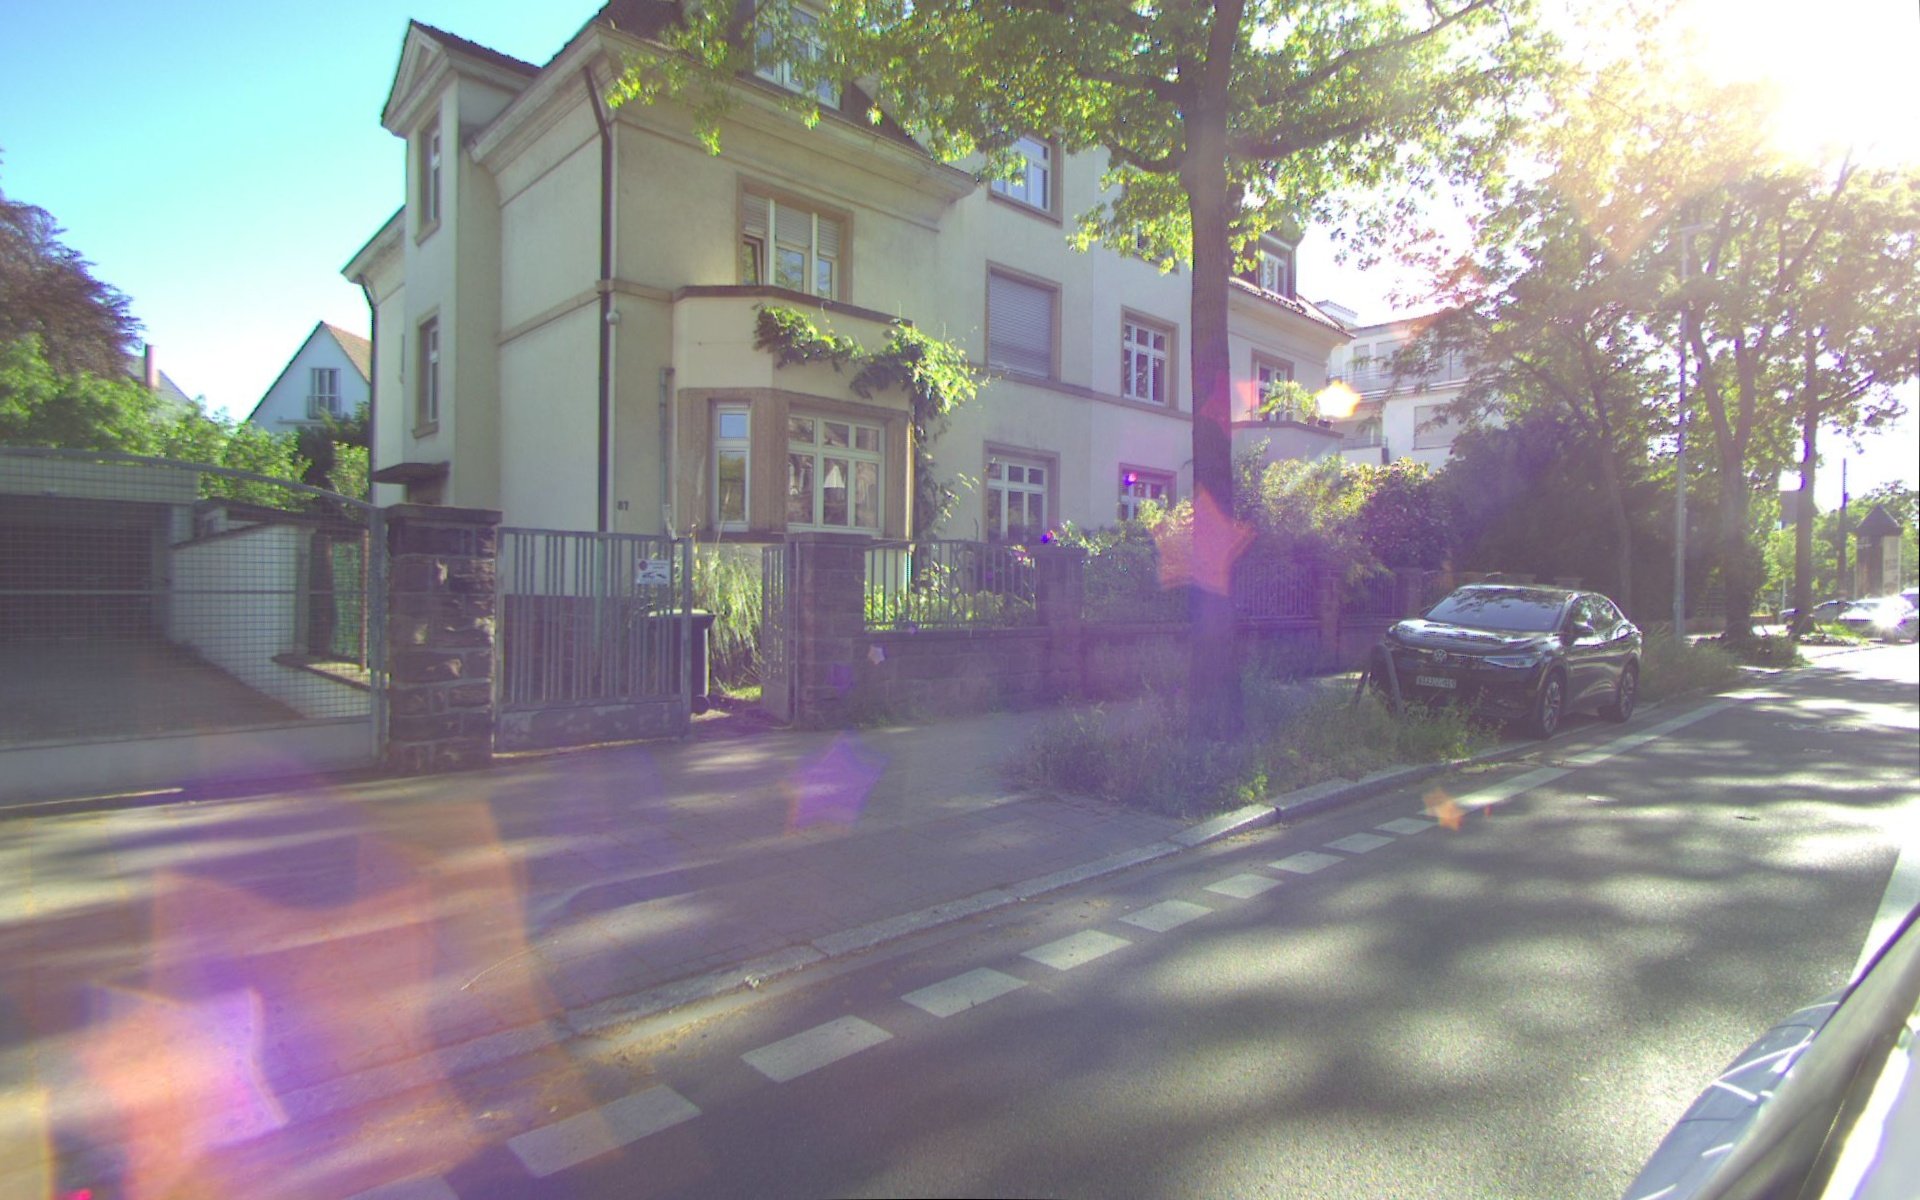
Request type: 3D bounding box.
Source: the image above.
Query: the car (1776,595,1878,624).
[{"bbox_3d":[46.068,0.463,53.826,1.784,1.459,3.990,0,1,-44],"label":"car"}]

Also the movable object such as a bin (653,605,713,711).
[{"bbox_3d":[-2.925,0.587,10.661,0.551,1.062,0.676,0,0,-20],"label":"movable object such as a bin"}]

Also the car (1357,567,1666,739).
[{"bbox_3d":[6.708,0.498,12.126,4.186,1.619,1.917,0,4,-42],"label":"car"}]

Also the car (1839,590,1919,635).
[{"bbox_3d":[31.512,0.386,34.261,4.181,1.427,1.901,0,1,-38],"label":"car"}]

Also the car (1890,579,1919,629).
[{"bbox_3d":[36.672,0.133,37.843,4.580,1.808,1.903,0,1,-35],"label":"car"}]
